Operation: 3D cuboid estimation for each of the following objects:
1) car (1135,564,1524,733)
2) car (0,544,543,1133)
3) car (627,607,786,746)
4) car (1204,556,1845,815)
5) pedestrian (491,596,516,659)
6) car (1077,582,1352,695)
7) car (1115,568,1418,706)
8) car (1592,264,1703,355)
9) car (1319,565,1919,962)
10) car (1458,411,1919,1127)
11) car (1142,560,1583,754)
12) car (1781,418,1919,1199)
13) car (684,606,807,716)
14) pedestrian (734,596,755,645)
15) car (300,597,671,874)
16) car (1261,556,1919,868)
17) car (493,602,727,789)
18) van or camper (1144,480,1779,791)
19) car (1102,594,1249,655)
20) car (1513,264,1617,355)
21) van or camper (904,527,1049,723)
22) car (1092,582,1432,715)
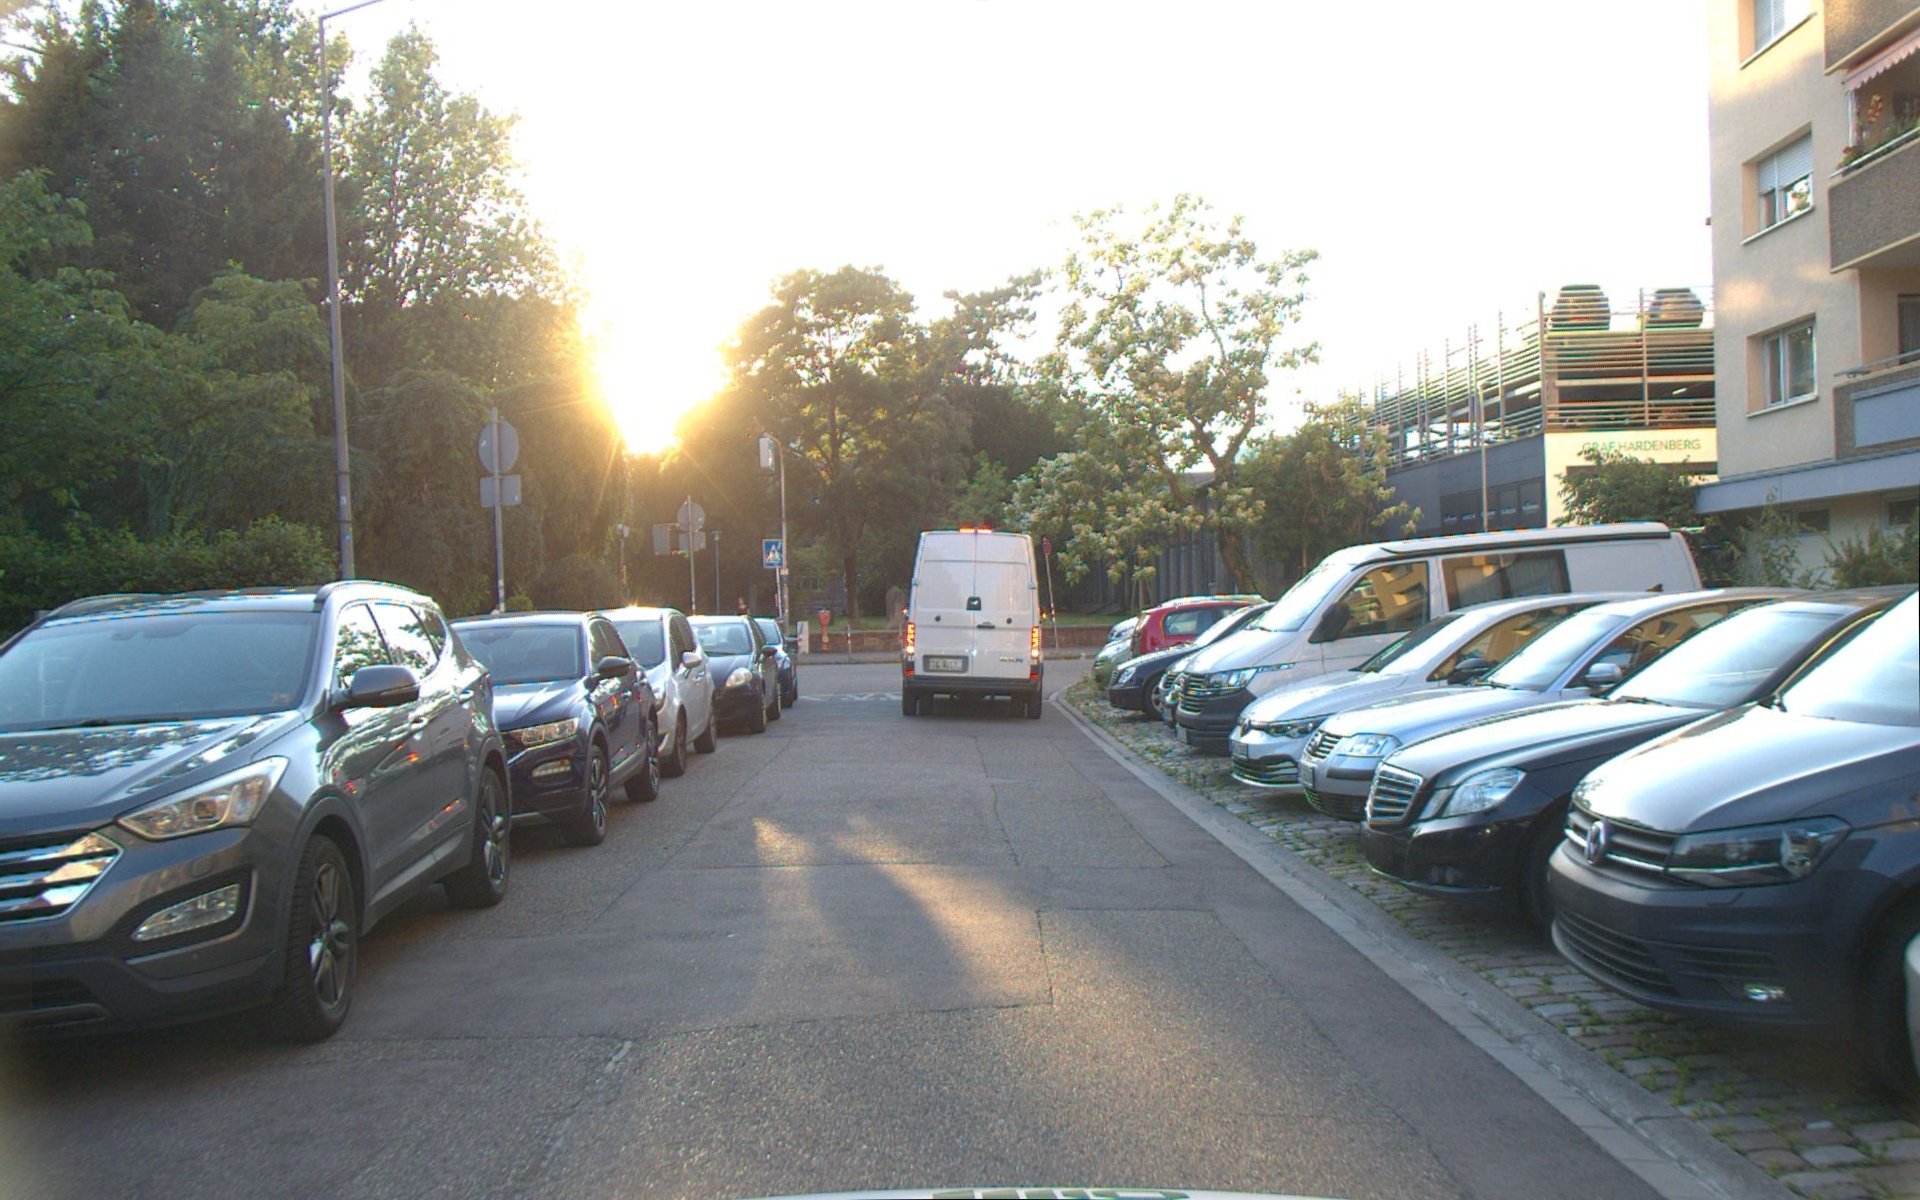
[{"bbox_3d":[4.520,0.610,20.668,4.317,1.690,1.844,-4,-2,-3],"label":"car"},{"bbox_3d":[-3.131,0.754,7.212,1.699,1.760,4.320,-3,0,-4],"label":"car"},{"bbox_3d":[-3.280,0.934,22.004,1.699,1.594,3.694,-3,0,-4],"label":"car"},{"bbox_3d":[4.251,0.649,12.964,4.315,1.660,1.845,-3,-2,-2],"label":"car"},{"bbox_3d":[-13.506,0.803,48.948,0.581,1.840,0.621,0,0,0],"label":"pedestrian"},{"bbox_3d":[4.304,0.665,28.382,4.316,1.660,1.844,-3,-2,-3],"label":"car"},{"bbox_3d":[4.709,0.567,25.906,4.314,1.659,1.846,-6,0,1],"label":"car"},{"bbox_3d":[21.072,-8.885,50.875,1.951,2.049,4.002,-1,0,4],"label":"car"},{"bbox_3d":[4.148,0.677,8.067,4.315,1.590,1.845,-3,-2,-2],"label":"car"},{"bbox_3d":[4.330,0.415,5.742,4.543,2.016,1.845,-3,-2,-2],"label":"car"},{"bbox_3d":[4.278,0.616,18.027,4.241,1.690,1.780,-4,-2,-3],"label":"car"},{"bbox_3d":[4.211,0.462,3.050,4.421,1.895,1.845,-3,0,-2],"label":"car"},{"bbox_3d":[-3.472,0.941,27.367,1.699,1.594,3.788,-3,0,-4],"label":"car"},{"bbox_3d":[-7.481,0.700,57.514,0.633,1.677,0.674,0,0,-1],"label":"pedestrian"},{"bbox_3d":[-3.254,0.827,12.175,1.699,1.594,4.164,-3,0,-4],"label":"car"},{"bbox_3d":[4.280,0.656,10.512,4.315,1.620,1.845,-3,-2,-2],"label":"car"},{"bbox_3d":[-3.457,0.866,17.032,1.699,1.594,4.126,-3,0,-4],"label":"car"},{"bbox_3d":[4.424,0.306,15.144,5.032,2.205,2.039,-5,-1,-3],"label":"van or camper"},{"bbox_3d":[5.980,0.669,46.179,3.778,1.601,1.957,-1,0,-3],"label":"car"},{"bbox_3d":[18.550,-8.884,50.868,1.951,2.049,4.002,-1,0,4],"label":"car"},{"bbox_3d":[0.173,0.351,25.790,1.953,2.664,6.401,-1,0,-1],"label":"van or camper"},{"bbox_3d":[4.144,0.683,23.165,4.316,1.558,1.844,-3,-2,-3],"label":"car"}]
